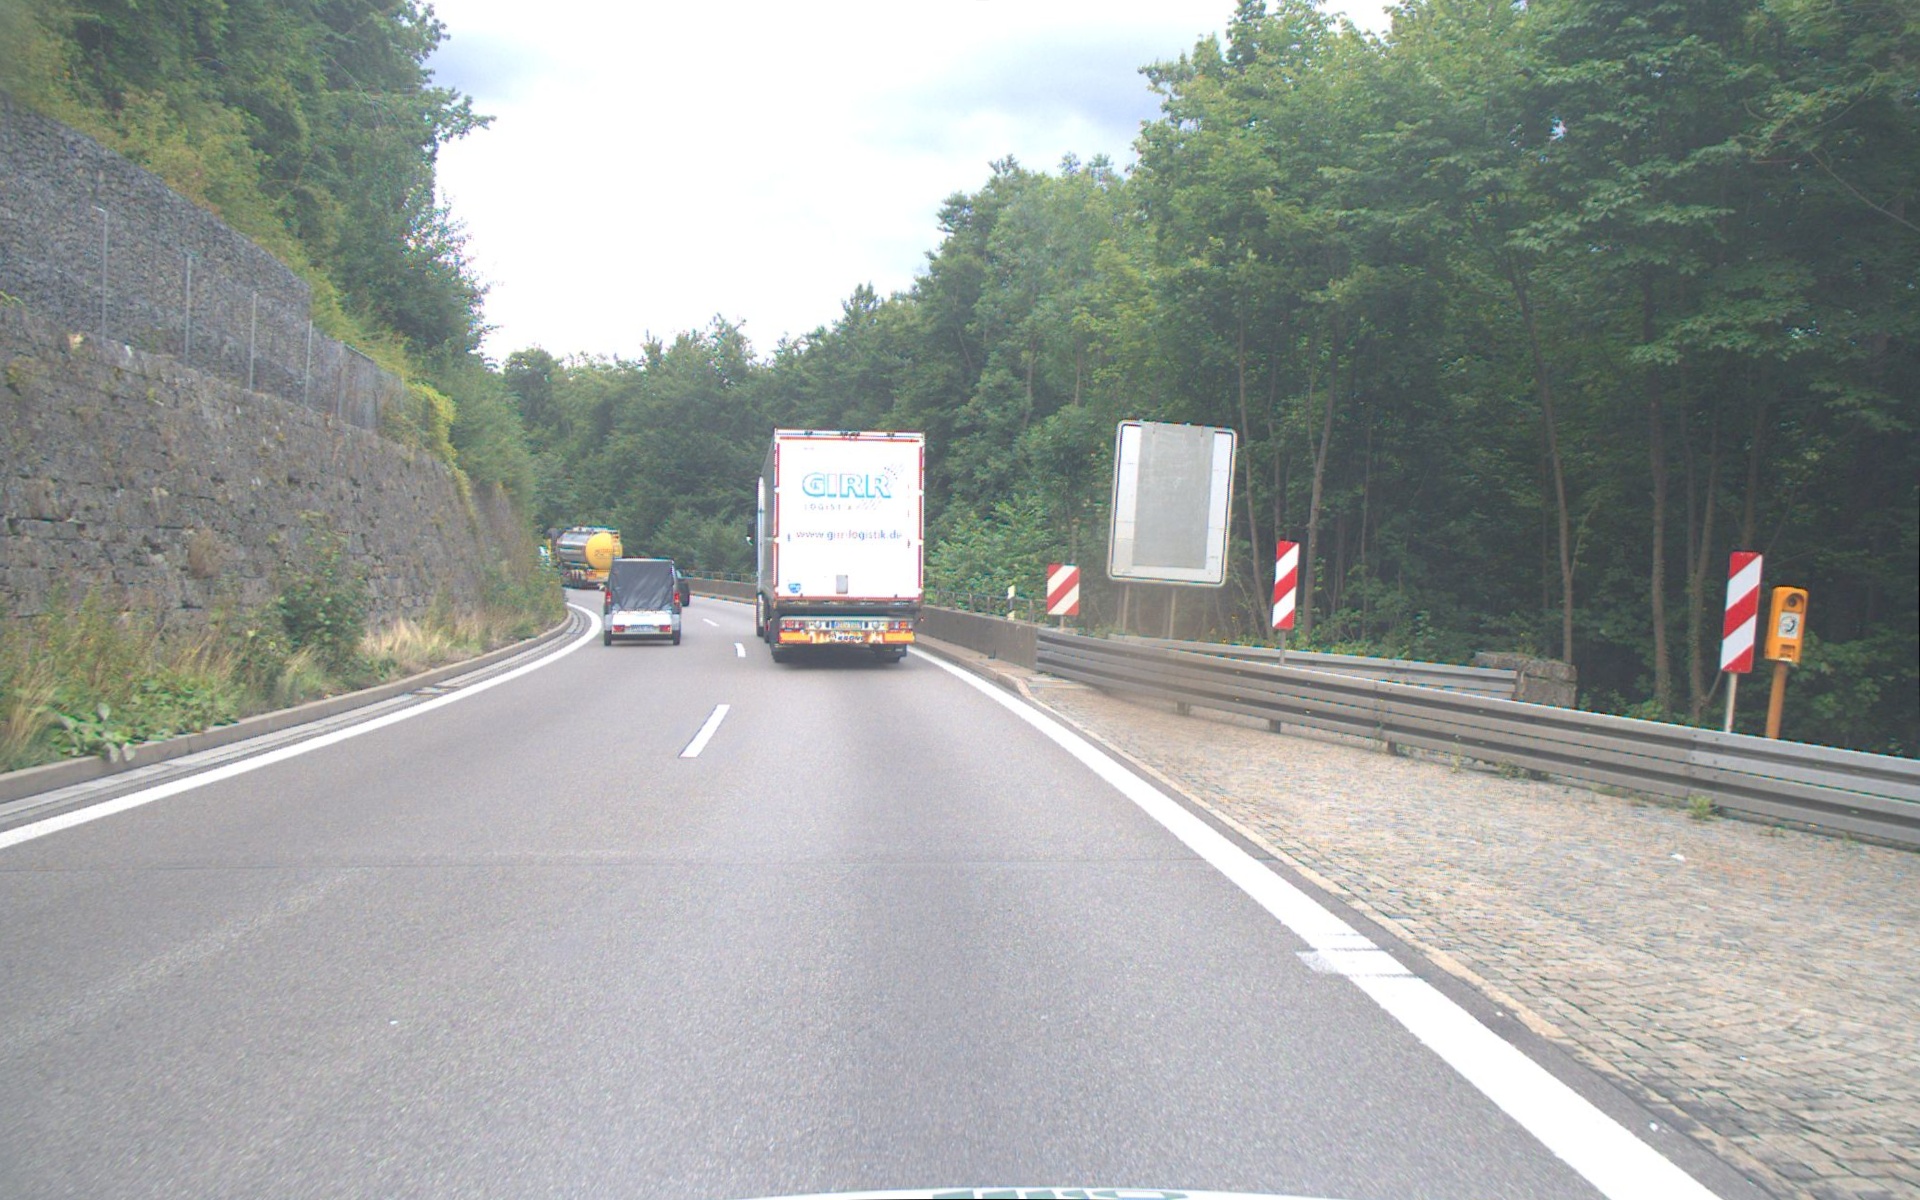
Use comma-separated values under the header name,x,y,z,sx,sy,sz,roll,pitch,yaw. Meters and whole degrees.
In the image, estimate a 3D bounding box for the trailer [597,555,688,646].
name,x,y,z,sx,sy,sz,roll,pitch,yaw
trailer,-7.226,0.001,37.807,1.935,1.973,3.422,1,0,-10

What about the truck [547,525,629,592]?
name,x,y,z,sx,sy,sz,roll,pitch,yaw
truck,-24.070,-2.610,106.414,3.015,4.056,13.606,0,1,-22

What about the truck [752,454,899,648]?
name,x,y,z,sx,sy,sz,roll,pitch,yaw
truck,-3.374,-1.205,39.541,3.000,4.054,7.177,3,2,-7

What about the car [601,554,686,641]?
name,x,y,z,sx,sy,sz,roll,pitch,yaw
car,-8.006,-0.066,42.203,1.957,2.049,5.528,1,0,-9

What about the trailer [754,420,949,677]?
name,x,y,z,sx,sy,sz,roll,pitch,yaw
trailer,-2.525,-1.081,33.162,3.000,4.054,12.119,3,2,-7

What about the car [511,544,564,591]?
name,x,y,z,sx,sy,sz,roll,pitch,yaw
car,-25.897,-2.015,101.238,1.962,2.718,6.886,3,1,-23

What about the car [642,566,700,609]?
name,x,y,z,sx,sy,sz,roll,pitch,yaw
car,-12.683,-0.573,72.397,1.962,1.691,3.982,3,1,-17
